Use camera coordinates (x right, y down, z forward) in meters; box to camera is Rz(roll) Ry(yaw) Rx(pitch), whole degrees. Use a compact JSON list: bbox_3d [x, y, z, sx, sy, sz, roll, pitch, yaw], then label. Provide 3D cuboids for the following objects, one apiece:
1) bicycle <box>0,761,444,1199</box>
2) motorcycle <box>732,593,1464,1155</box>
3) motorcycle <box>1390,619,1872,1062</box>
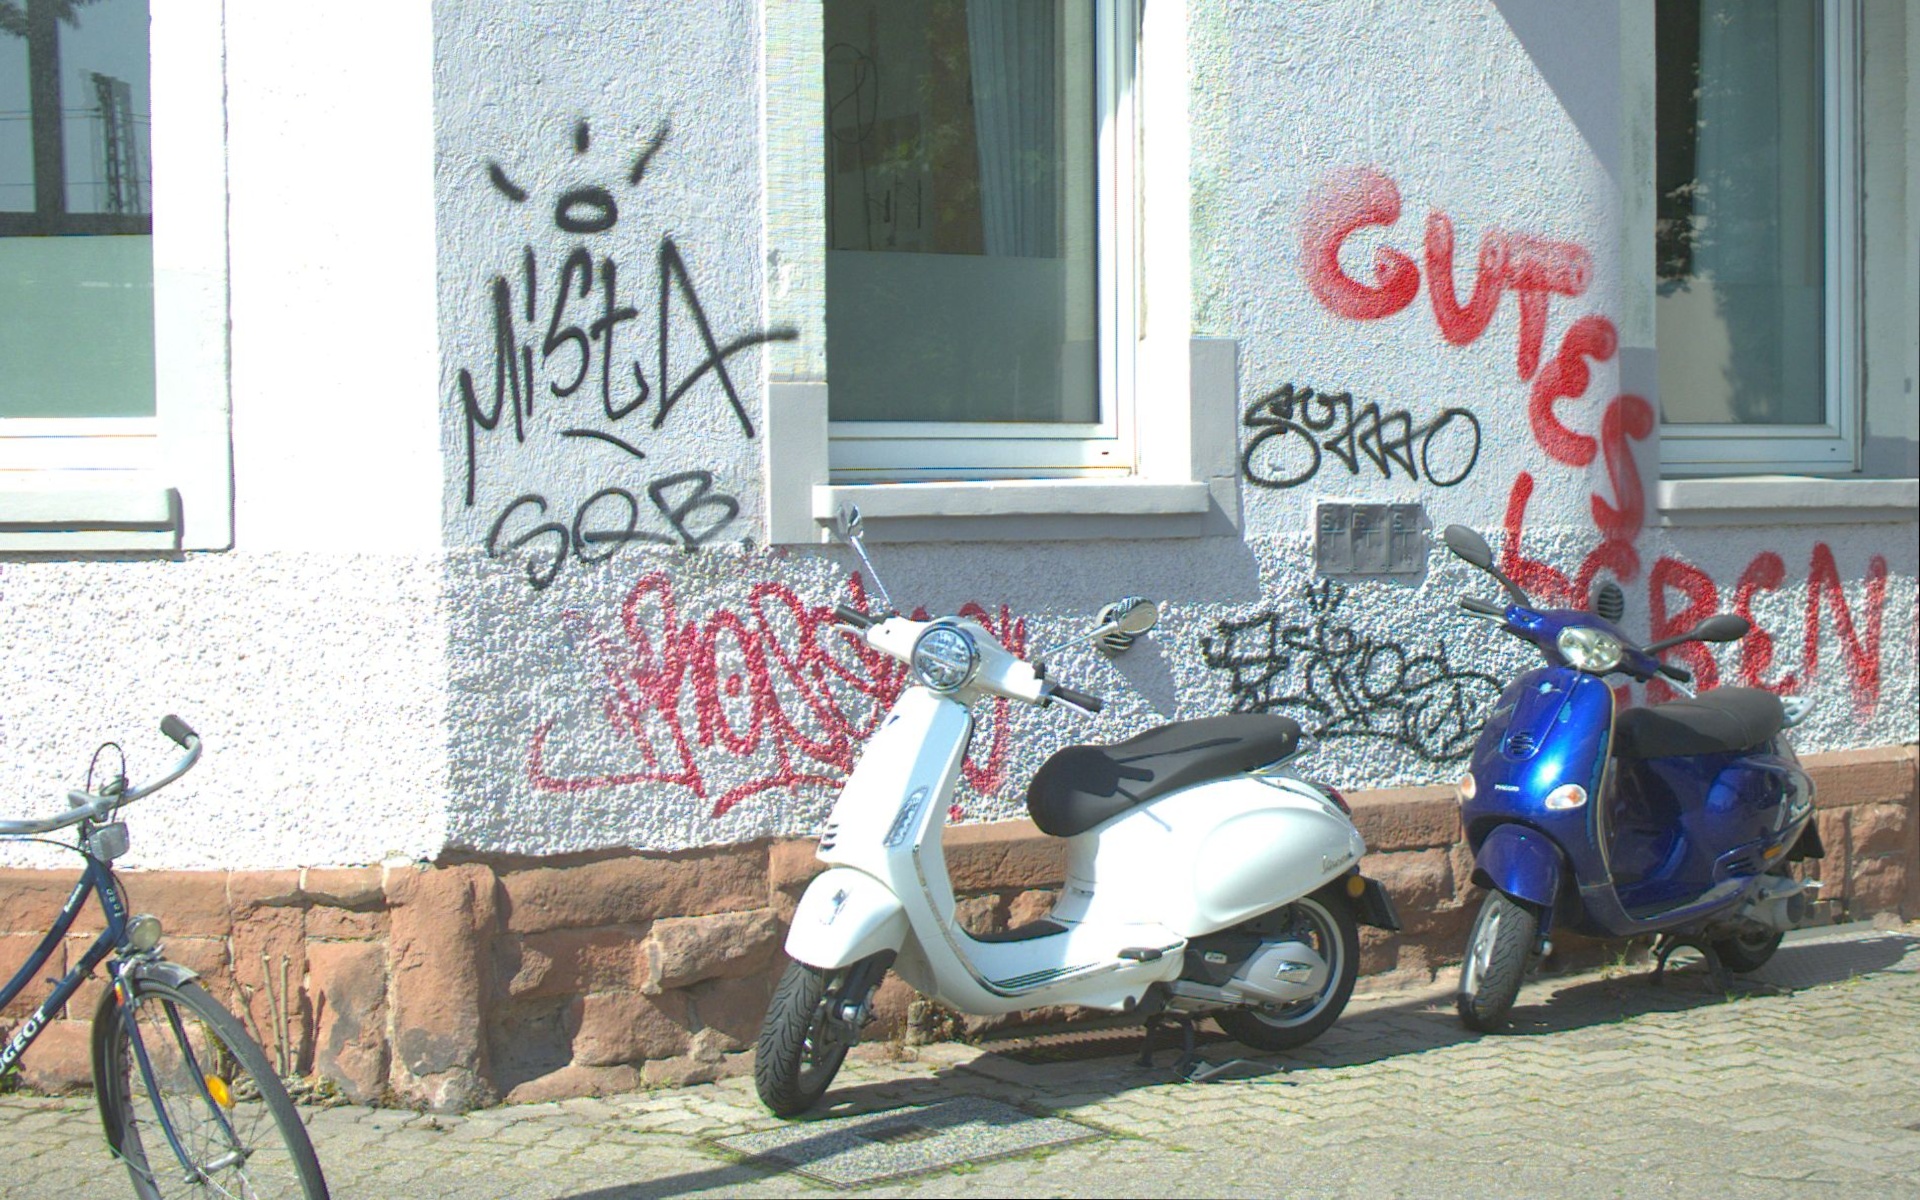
[{"bbox_3d":[-1.790,0.836,5.778,1.729,1.083,0.578,0,2,8],"label":"bicycle"},{"bbox_3d":[0.356,0.604,8.206,1.759,1.146,0.474,-3,5,-30],"label":"motorcycle"},{"bbox_3d":[1.872,0.628,9.509,1.445,1.090,0.429,-2,4,-37],"label":"motorcycle"}]
